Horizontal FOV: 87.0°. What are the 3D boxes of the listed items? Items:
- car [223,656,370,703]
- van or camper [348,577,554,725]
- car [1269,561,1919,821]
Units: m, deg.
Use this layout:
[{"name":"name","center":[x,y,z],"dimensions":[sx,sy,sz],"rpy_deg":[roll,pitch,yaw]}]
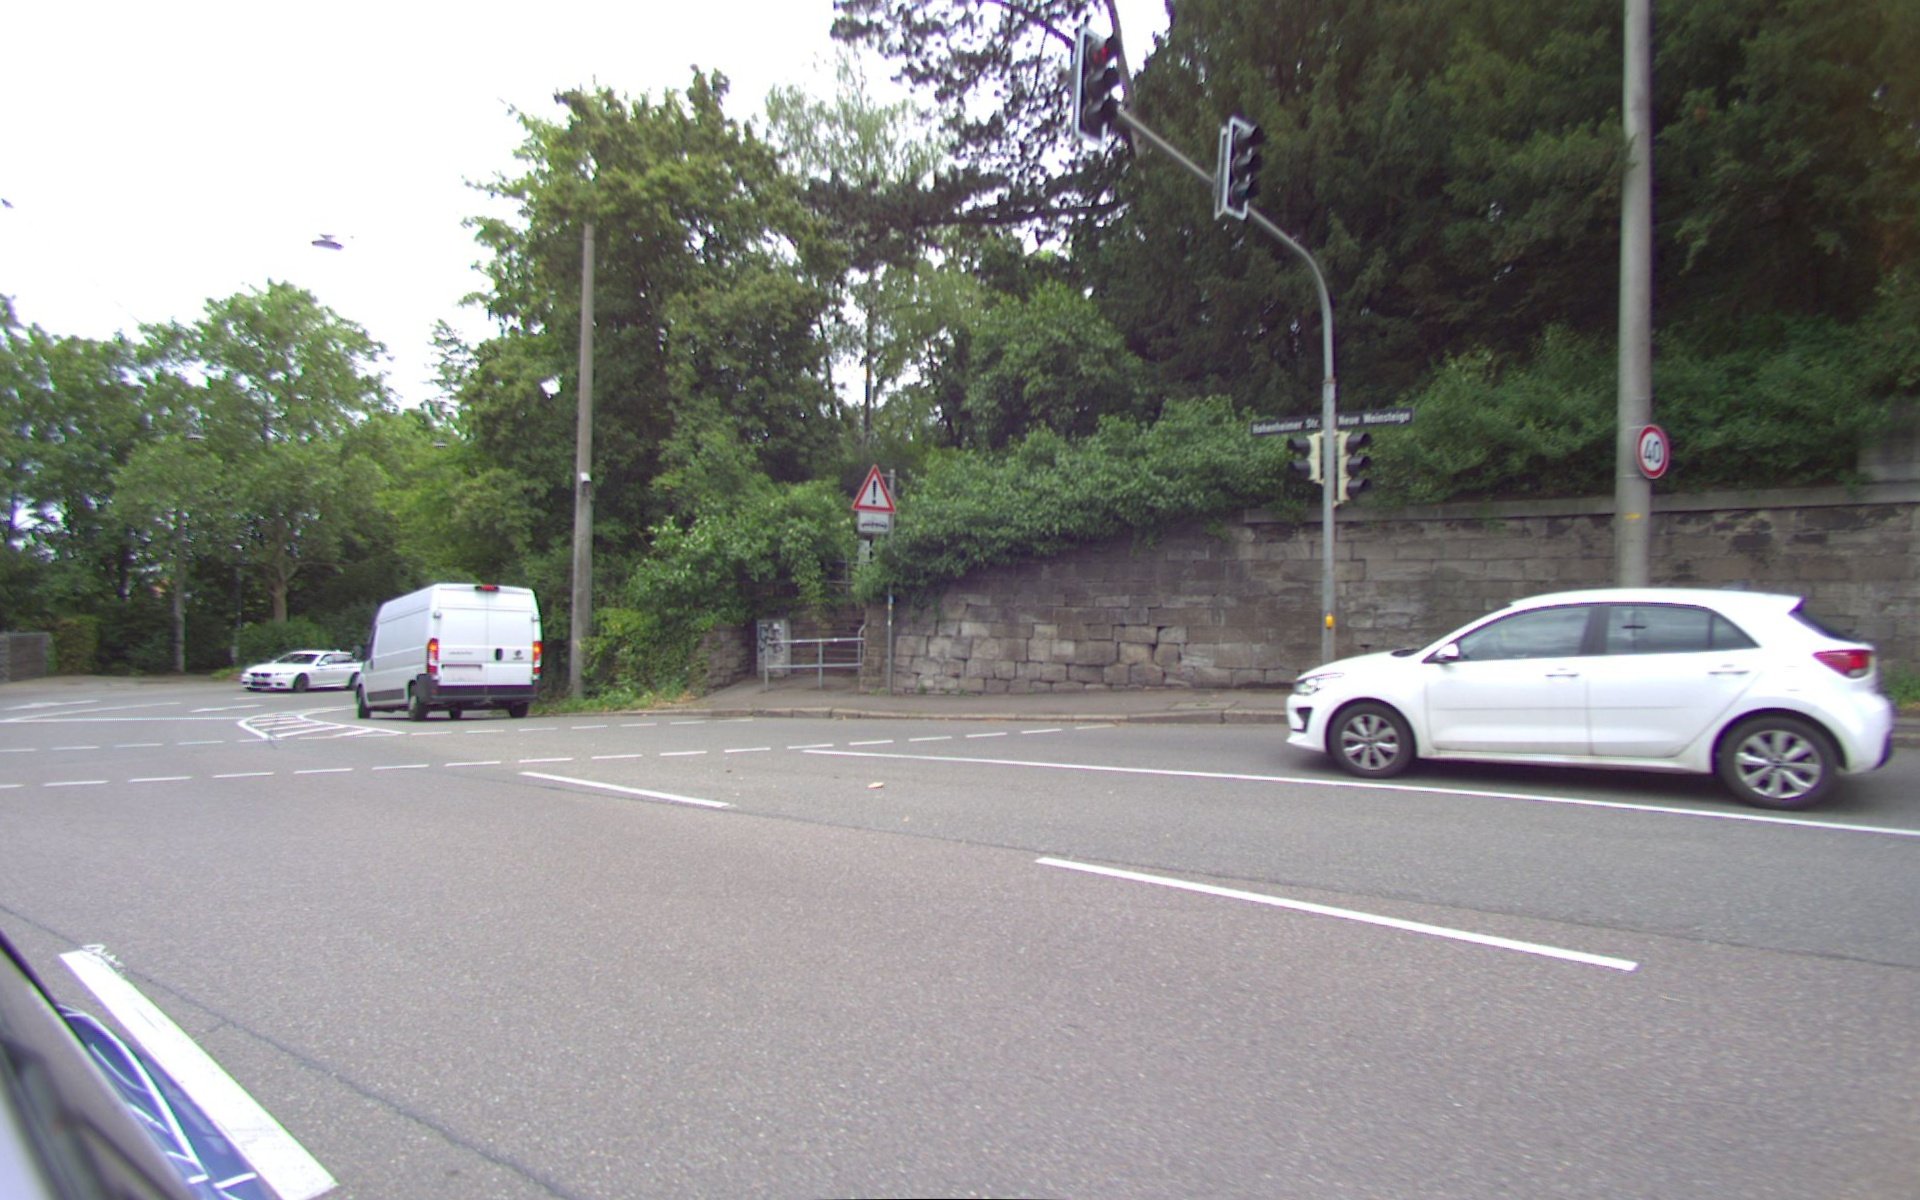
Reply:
[{"name":"car","center":[-23.828,2.839,36.602],"dimensions":[1.802,1.482,4.776],"rpy_deg":[4,-3,5]},{"name":"van or camper","center":[-10.293,1.163,20.247],"dimensions":[2.176,2.566,5.362],"rpy_deg":[3,-8,-44]},{"name":"car","center":[4.737,0.602,7.895],"dimensions":[4.106,1.568,1.621],"rpy_deg":[-3,0,36]}]
